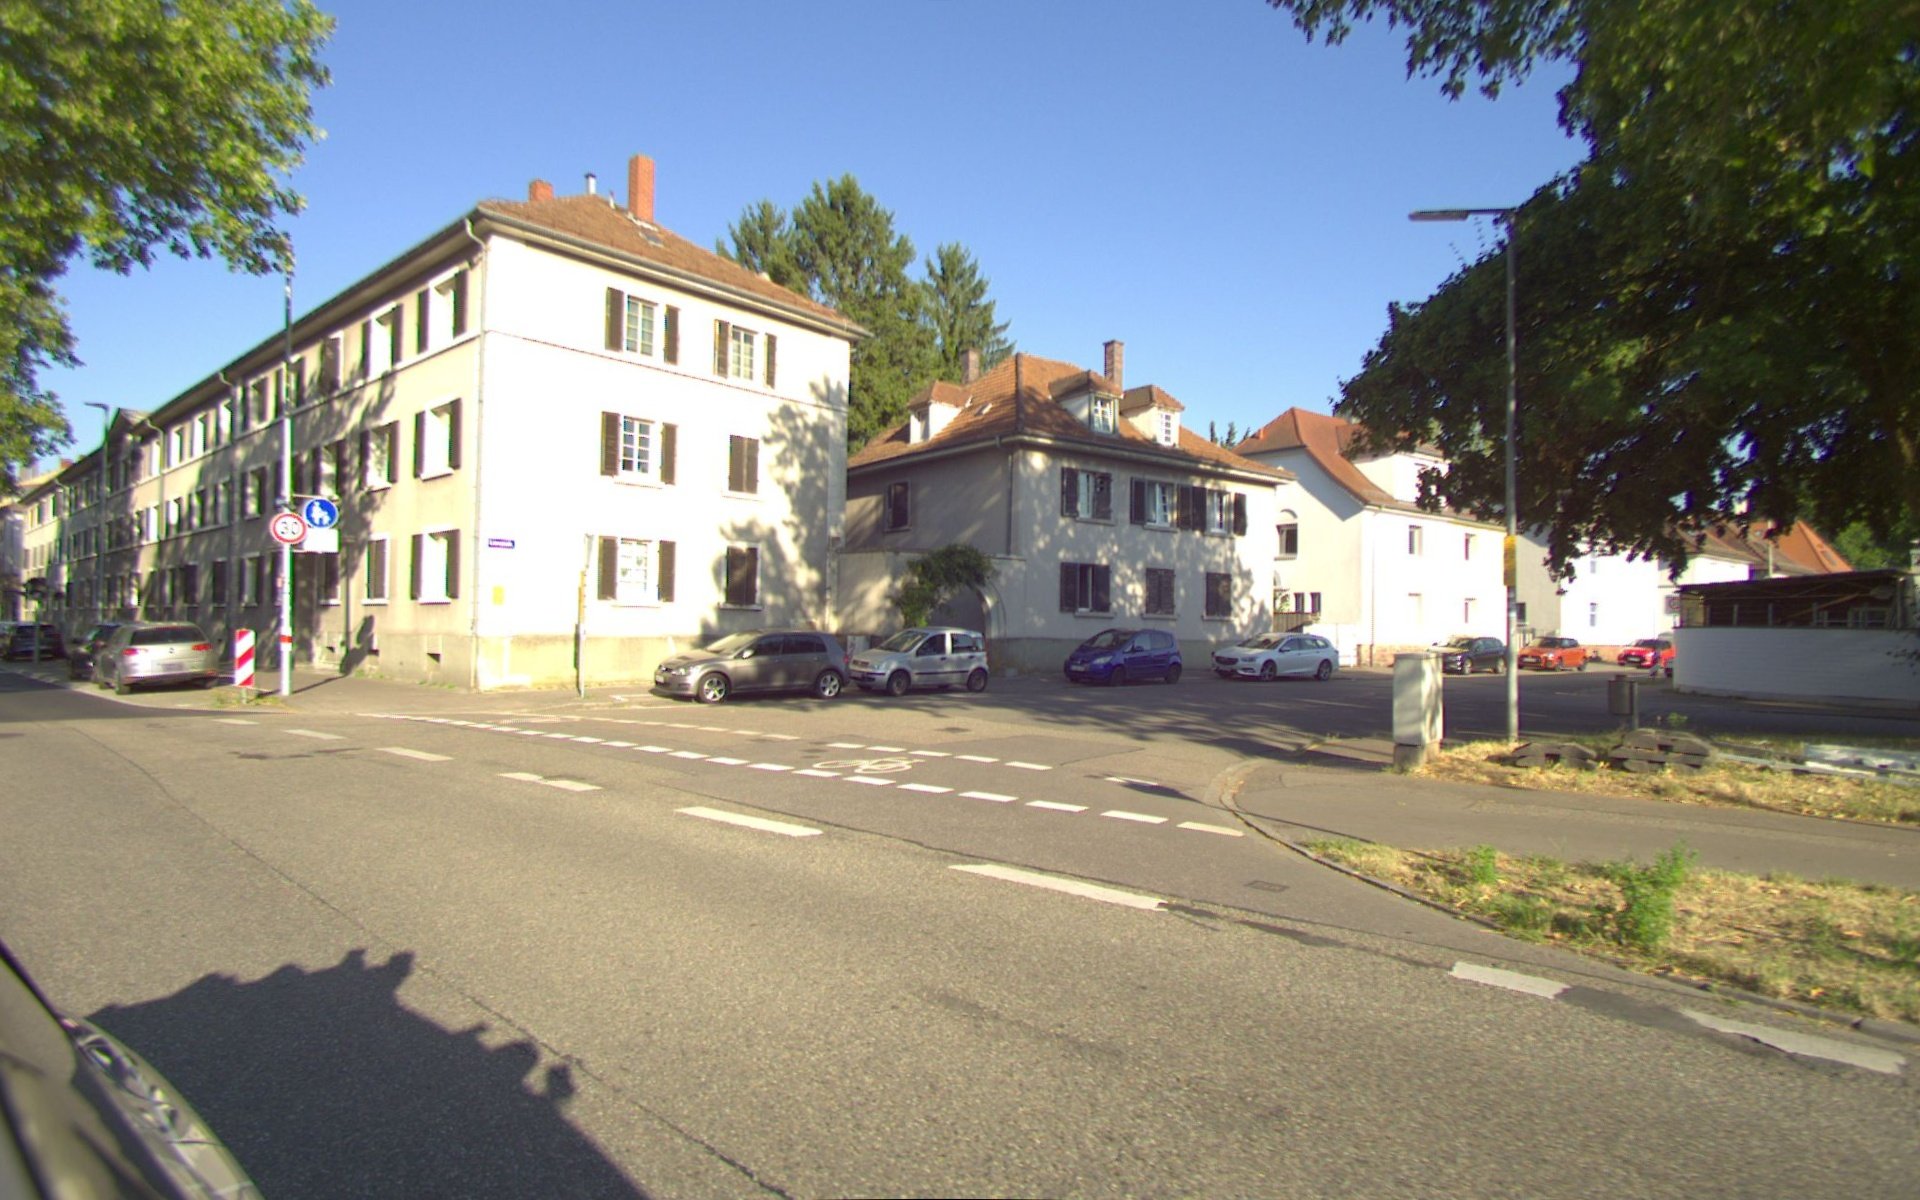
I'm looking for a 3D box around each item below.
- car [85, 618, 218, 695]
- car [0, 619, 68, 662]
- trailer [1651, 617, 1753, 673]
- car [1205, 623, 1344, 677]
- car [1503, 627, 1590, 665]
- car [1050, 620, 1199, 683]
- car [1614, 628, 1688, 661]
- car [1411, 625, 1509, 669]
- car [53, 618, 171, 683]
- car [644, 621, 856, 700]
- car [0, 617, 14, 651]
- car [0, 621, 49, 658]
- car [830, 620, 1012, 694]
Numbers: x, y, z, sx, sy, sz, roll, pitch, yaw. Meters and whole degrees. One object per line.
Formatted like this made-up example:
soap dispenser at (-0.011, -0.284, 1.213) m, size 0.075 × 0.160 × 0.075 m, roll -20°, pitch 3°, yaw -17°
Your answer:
car at (-17.819, 1.173, 22.248) m, size 4.108 × 1.495 × 1.742 m, roll -1°, pitch 0°, yaw 43°
car at (-36.060, 1.536, 39.220) m, size 4.087 × 1.494 × 1.845 m, roll -1°, pitch 1°, yaw 44°
trailer at (28.381, 1.693, 38.693) m, size 3.606 × 2.029 × 2.181 m, roll 2°, pitch -2°, yaw -37°
car at (10.032, 1.553, 32.156) m, size 4.602 × 1.573 × 1.869 m, roll 1°, pitch -1°, yaw -36°
car at (25.845, 2.007, 44.578) m, size 3.934 × 1.573 × 1.869 m, roll 1°, pitch -2°, yaw -36°
car at (4.643, 1.399, 28.408) m, size 3.934 × 1.573 × 1.869 m, roll 1°, pitch 0°, yaw -36°
car at (34.976, 2.231, 51.224) m, size 3.934 × 1.573 × 1.869 m, roll 1°, pitch -2°, yaw -36°
car at (19.831, 1.837, 40.081) m, size 3.934 × 1.573 × 1.869 m, roll 2°, pitch 0°, yaw -36°
car at (-22.124, 1.263, 26.348) m, size 4.050 × 1.518 × 1.689 m, roll -1°, pitch 0°, yaw 40°
car at (-4.431, 1.230, 21.533) m, size 3.934 × 1.429 × 1.919 m, roll 1°, pitch 1°, yaw -36°
car at (-47.913, 1.680, 49.547) m, size 4.083 × 1.624 × 1.846 m, roll -1°, pitch -1°, yaw 40°
car at (-40.518, 1.651, 43.278) m, size 4.084 × 1.495 × 1.846 m, roll -1°, pitch 0°, yaw 41°
car at (-0.887, 1.301, 24.047) m, size 3.934 × 1.573 × 1.869 m, roll 1°, pitch 0°, yaw -36°
